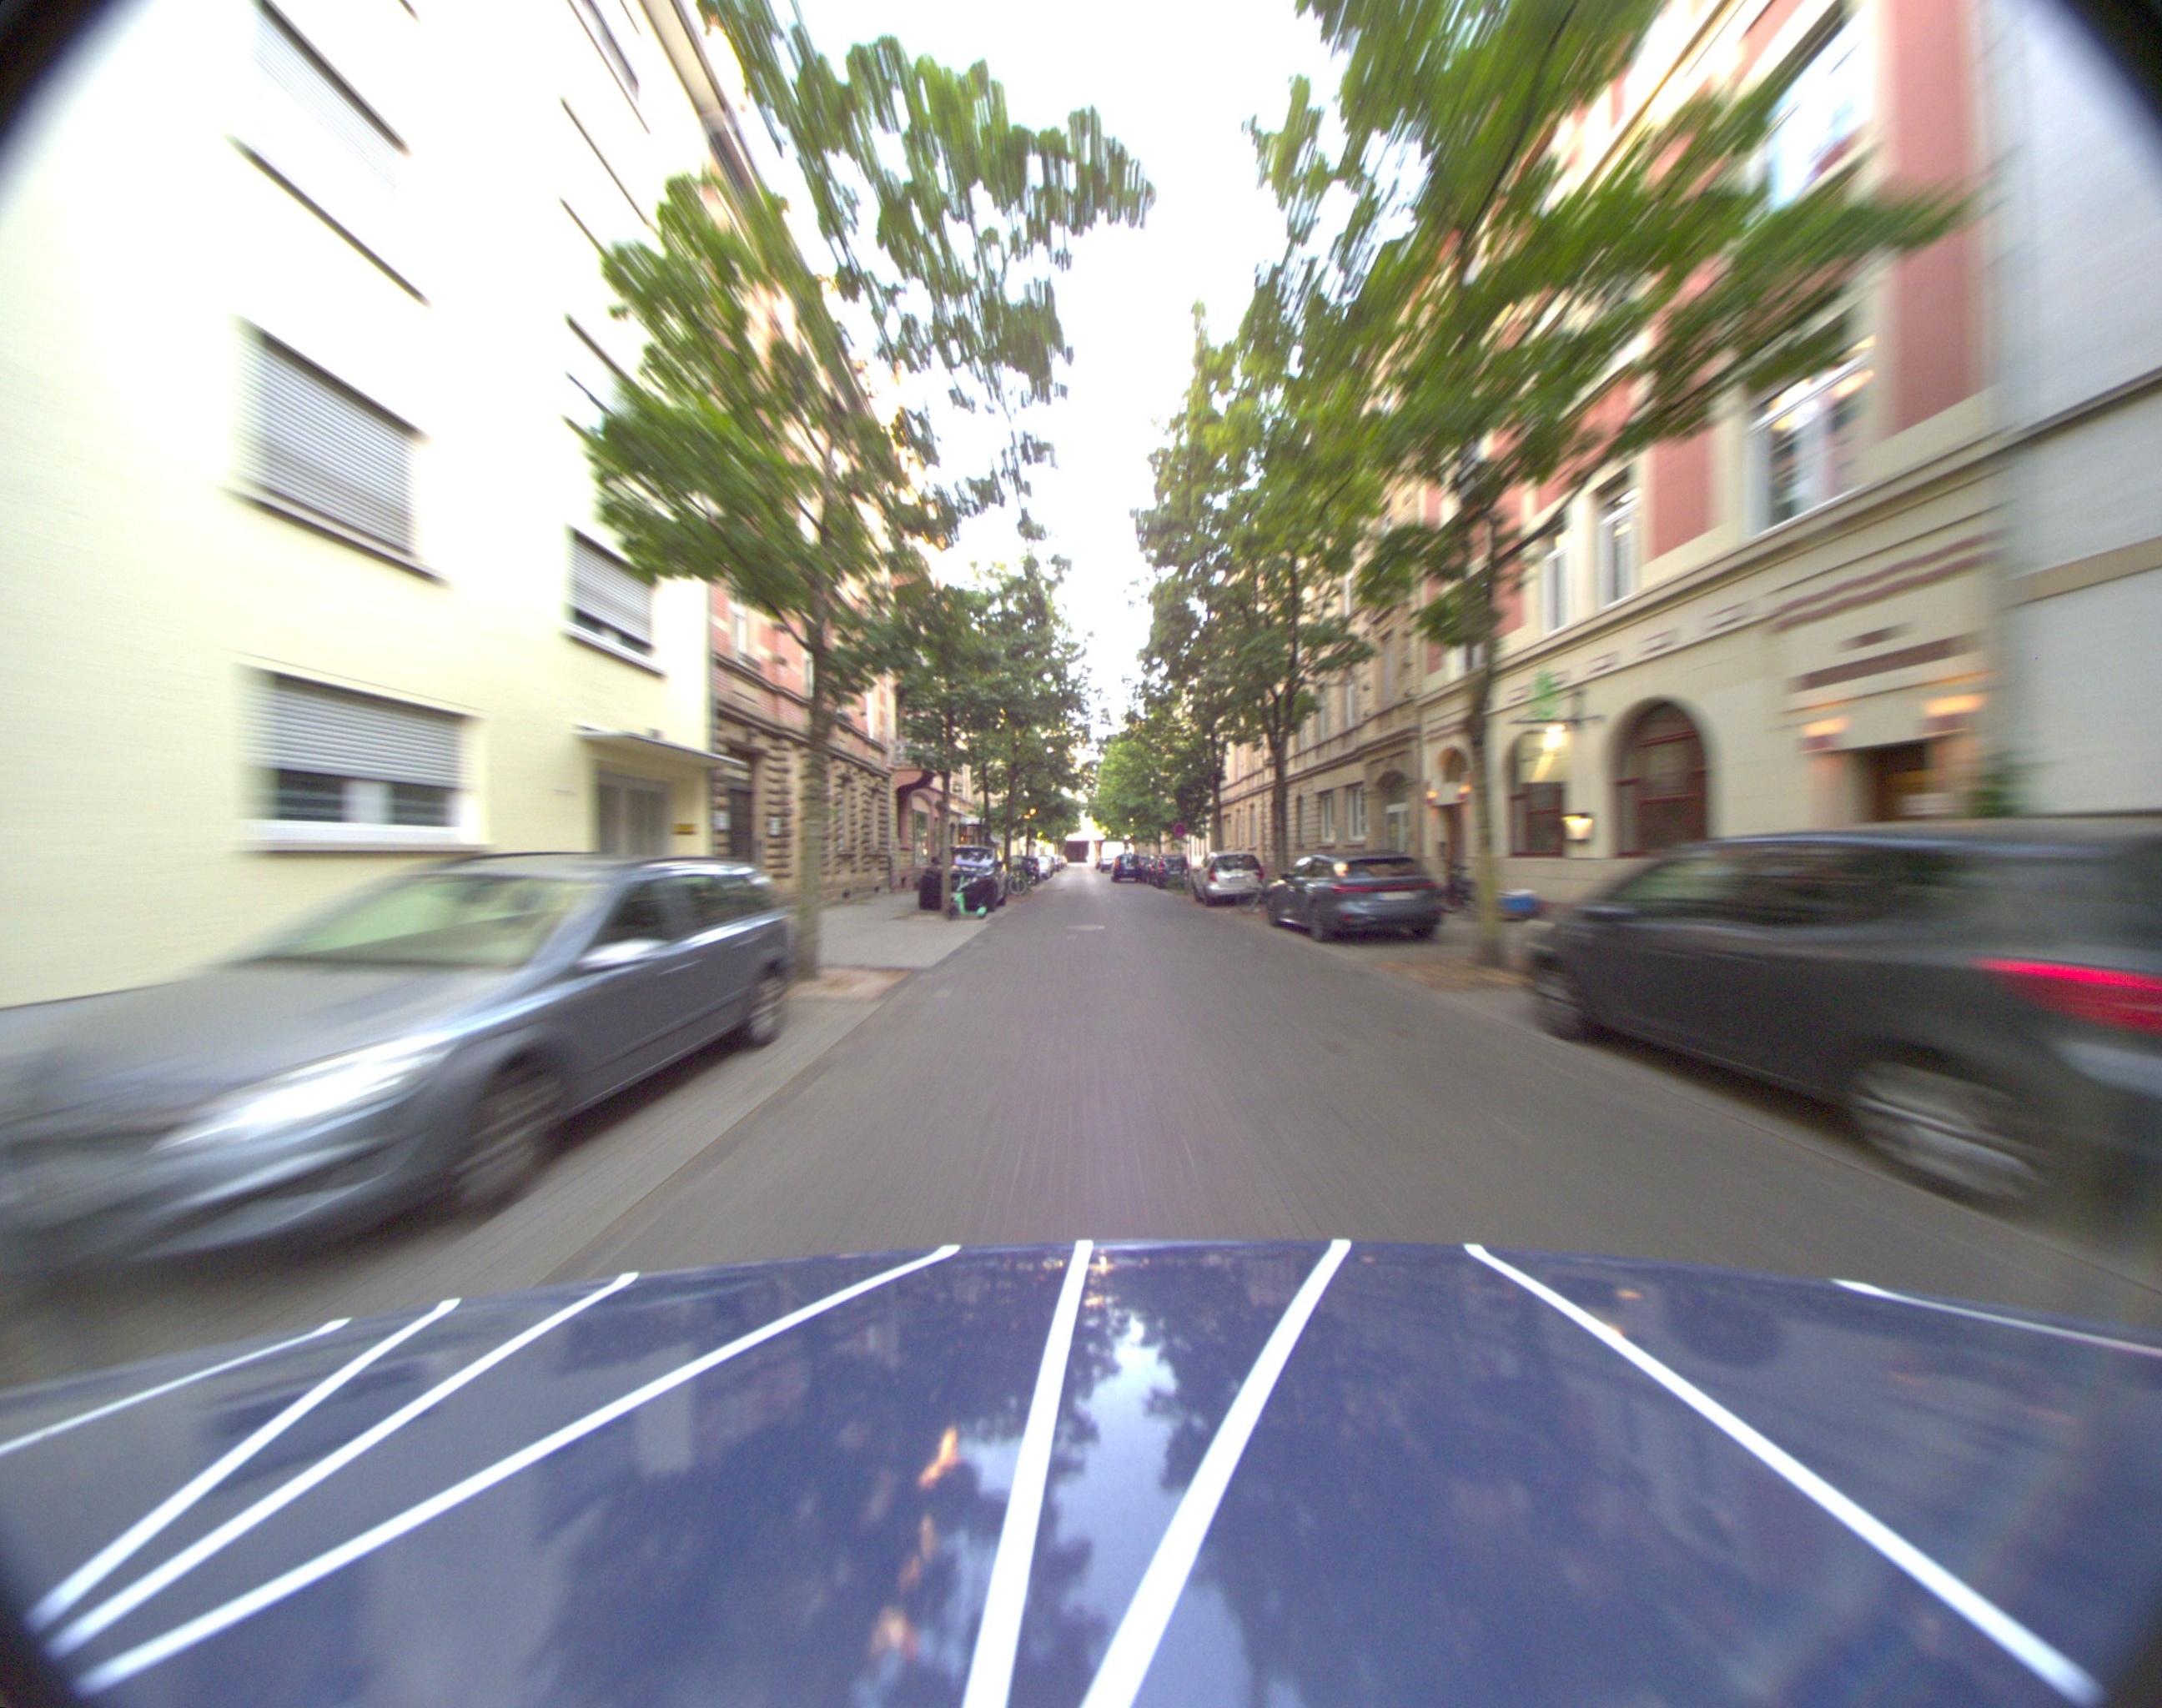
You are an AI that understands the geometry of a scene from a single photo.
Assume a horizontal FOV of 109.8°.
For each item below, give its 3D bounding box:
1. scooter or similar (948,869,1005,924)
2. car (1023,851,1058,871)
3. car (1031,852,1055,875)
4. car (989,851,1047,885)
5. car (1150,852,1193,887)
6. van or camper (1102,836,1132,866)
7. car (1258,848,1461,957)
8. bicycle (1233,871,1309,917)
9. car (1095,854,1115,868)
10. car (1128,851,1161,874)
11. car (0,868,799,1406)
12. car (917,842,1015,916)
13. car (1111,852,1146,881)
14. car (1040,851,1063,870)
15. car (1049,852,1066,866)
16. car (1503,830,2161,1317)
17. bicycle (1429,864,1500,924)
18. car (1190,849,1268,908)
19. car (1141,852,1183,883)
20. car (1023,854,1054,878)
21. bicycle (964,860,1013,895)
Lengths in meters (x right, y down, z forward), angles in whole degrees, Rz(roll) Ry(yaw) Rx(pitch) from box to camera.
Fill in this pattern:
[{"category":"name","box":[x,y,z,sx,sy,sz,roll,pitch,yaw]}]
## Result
[{"category":"scooter or similar","box":[-2.438,0.972,17.775,0.673,1.183,1.118,3,2,40]},{"category":"car","box":[-3.224,0.570,61.183,2.721,1.564,1.526,1,1,0]},{"category":"car","box":[-2.642,0.664,53.628,1.595,1.551,3.122,-1,0,-2]},{"category":"car","box":[-3.290,0.723,39.862,2.804,1.590,1.800,2,1,0]},{"category":"car","box":[4.215,0.689,35.827,1.523,1.493,3.561,-2,1,0]},{"category":"van or camper","box":[3.000,-0.229,64.647,2.225,2.417,5.660,0,0,0]},{"category":"car","box":[4.585,0.692,13.363,1.810,1.509,4.684,-2,0,0]},{"category":"bicycle","box":[4.593,0.971,18.420,1.688,0.997,0.430,-3,1,2]},{"category":"car","box":[2.533,0.732,80.376,1.665,1.448,4.282,0,0,-4]},{"category":"car","box":[4.228,0.531,51.504,1.771,1.454,4.257,-1,0,-1]},{"category":"car","box":[-3.269,0.852,4.323,1.763,1.454,4.307,0,0,-1]},{"category":"car","box":[-3.144,0.633,21.794,2.019,1.822,4.810,2,0,0]},{"category":"car","box":[2.687,0.675,43.936,1.728,1.564,4.219,-1,0,0]},{"category":"car","box":[-2.634,0.594,69.231,1.944,1.621,4.453,-1,0,0]},{"category":"car","box":[-2.660,0.520,86.608,1.835,1.530,4.123,0,0,0]},{"category":"car","box":[4.395,0.704,4.334,1.711,1.571,4.078,-2,0,1]},{"category":"bicycle","box":[7.636,0.773,15.205,0.527,1.091,1.795,-1,1,1]},{"category":"car","box":[4.392,0.676,23.074,1.680,1.598,3.861,-2,0,2]},{"category":"car","box":[4.175,0.671,39.712,1.695,1.493,3.711,-2,1,-1]},{"category":"car","box":[-2.723,0.740,49.254,1.738,1.482,4.103,0,0,0]},{"category":"bicycle","box":[-3.590,0.907,29.464,1.766,1.286,0.801,2,0,-1]}]
